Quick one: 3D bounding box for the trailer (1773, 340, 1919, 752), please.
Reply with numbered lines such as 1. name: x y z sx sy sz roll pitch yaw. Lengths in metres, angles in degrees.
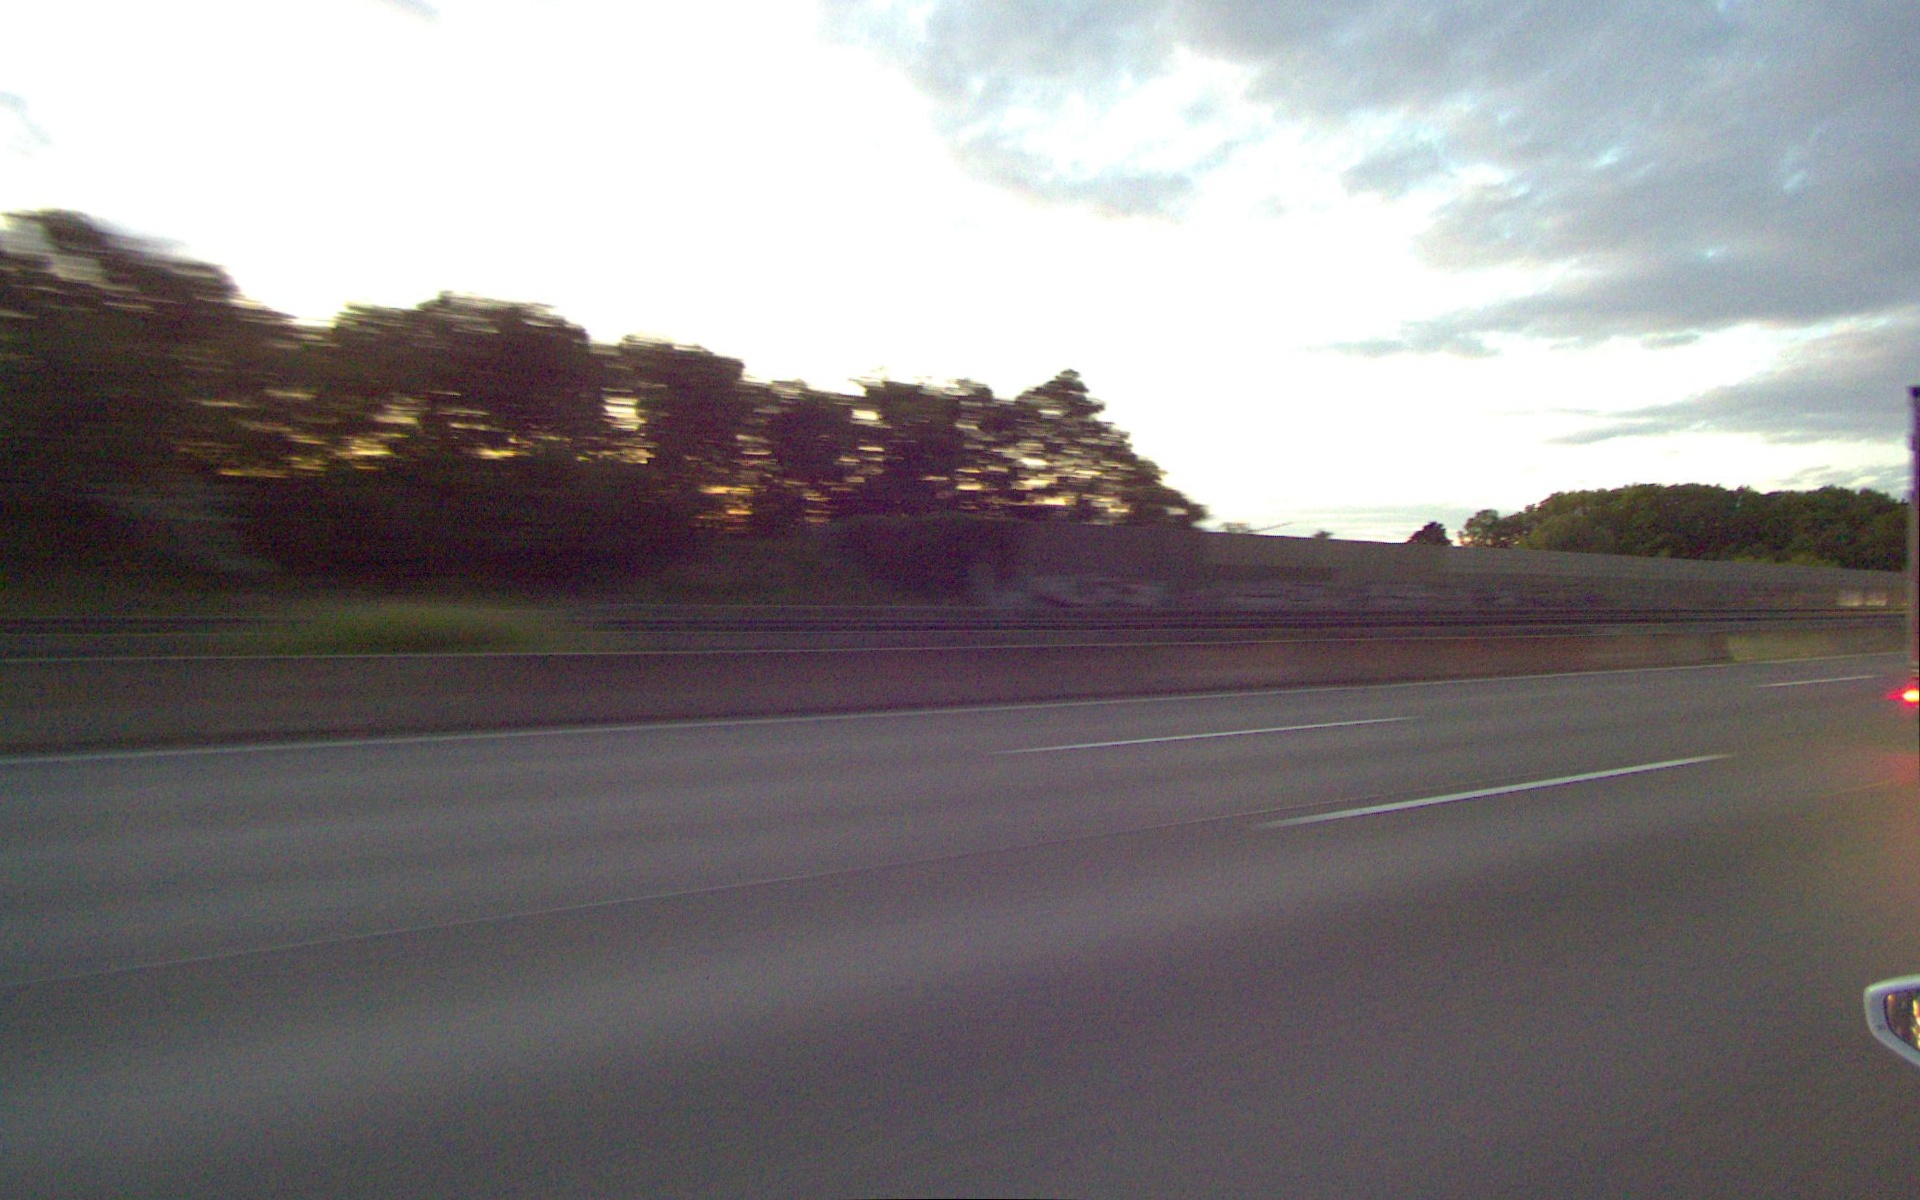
1. trailer: 16.301 -0.358 13.647 14.895 4.171 3.531 2 -1 -32
